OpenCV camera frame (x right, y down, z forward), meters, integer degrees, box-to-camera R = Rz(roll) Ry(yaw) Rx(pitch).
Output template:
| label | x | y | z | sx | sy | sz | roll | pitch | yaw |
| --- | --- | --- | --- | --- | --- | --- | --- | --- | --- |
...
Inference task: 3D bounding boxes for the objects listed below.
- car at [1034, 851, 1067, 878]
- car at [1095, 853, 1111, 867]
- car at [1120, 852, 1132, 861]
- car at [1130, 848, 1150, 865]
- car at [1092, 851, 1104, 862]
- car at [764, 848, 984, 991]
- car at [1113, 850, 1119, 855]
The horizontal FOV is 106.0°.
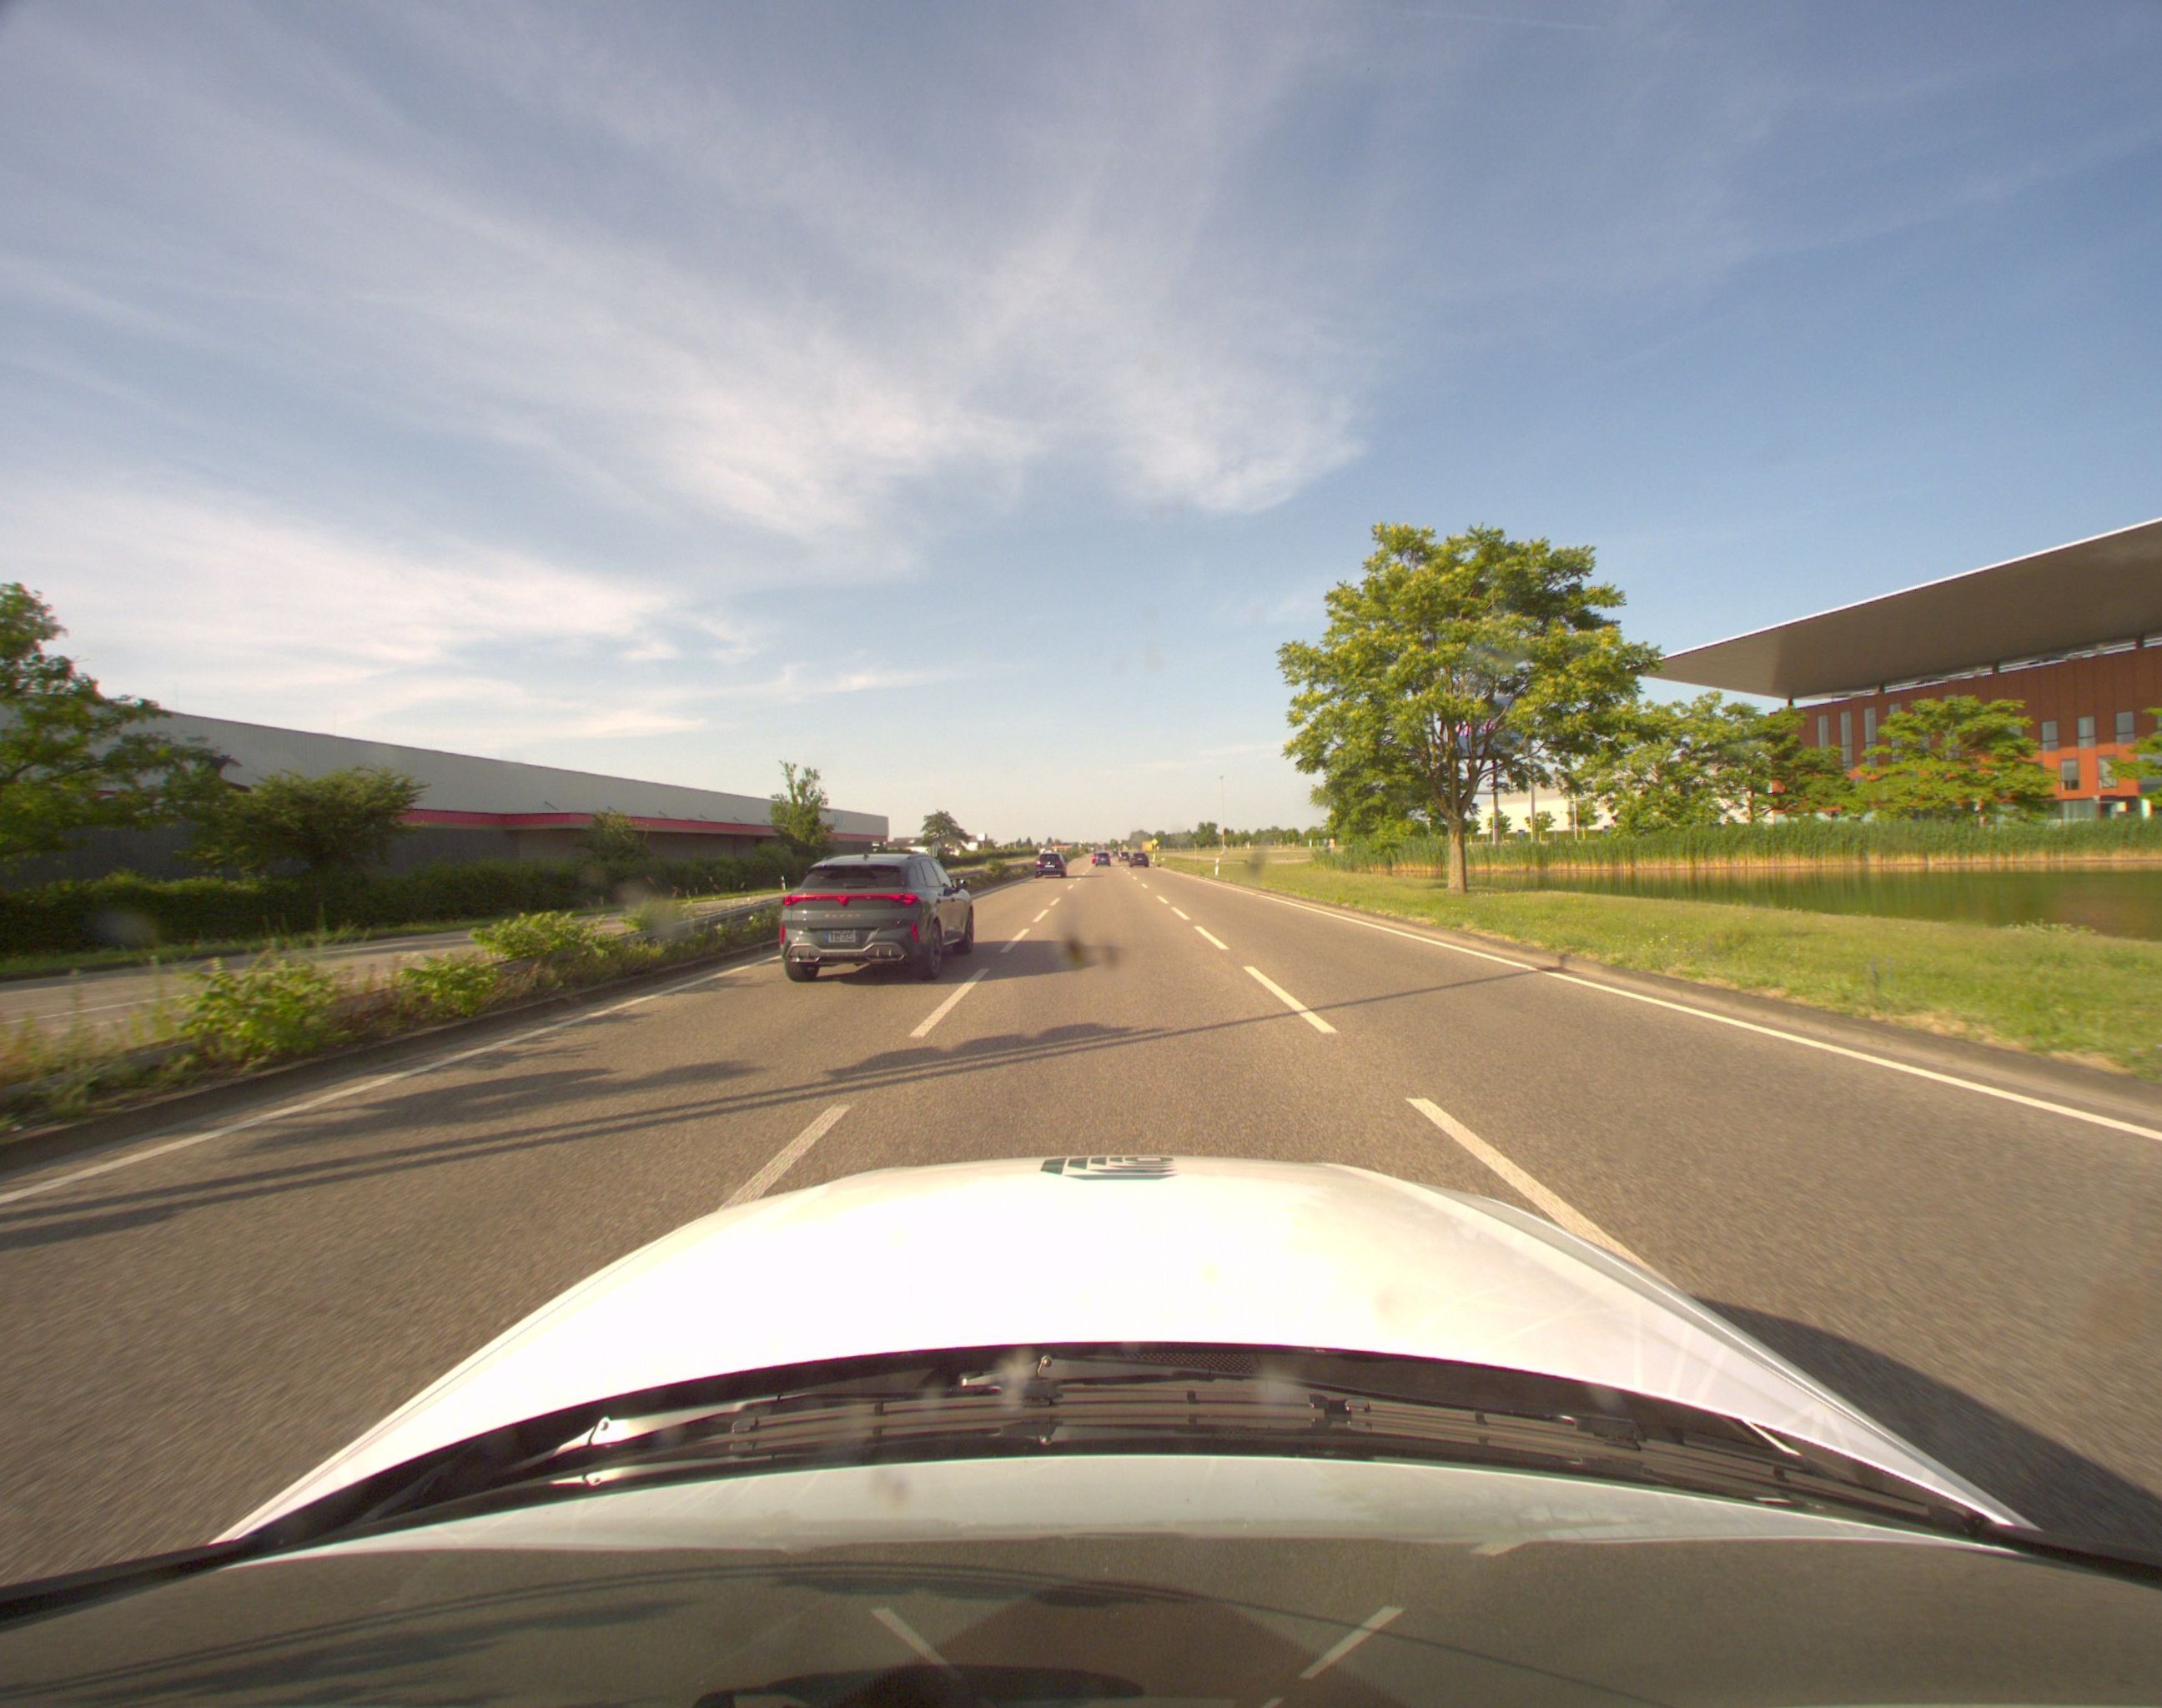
| label | x | y | z | sx | sy | sz | roll | pitch | yaw |
| --- | --- | --- | --- | --- | --- | --- | --- | --- | --- |
| car | -1.984 | 0.679 | 54.146 | 1.925 | 1.680 | 4.402 | 0 | 0 | 2 |
| car | 2.619 | 0.689 | 95.921 | 1.806 | 1.463 | 4.402 | 0 | 0 | 2 |
| car | 7.358 | 0.426 | 132.397 | 1.866 | 1.463 | 3.982 | 0 | 0 | 2 |
| car | 6.259 | 0.254 | 86.496 | 1.925 | 1.680 | 4.402 | 0 | 0 | 2 |
| car | 2.442 | 0.374 | 115.344 | 1.641 | 1.463 | 3.982 | 0 | 0 | 2 |
| car | -2.621 | 0.728 | 11.466 | 1.839 | 1.611 | 4.402 | 0 | 0 | 2 |
| car | 8.830 | -0.393 | 206.123 | 1.497 | 1.313 | 3.157 | 0 | 0 | 2 |
